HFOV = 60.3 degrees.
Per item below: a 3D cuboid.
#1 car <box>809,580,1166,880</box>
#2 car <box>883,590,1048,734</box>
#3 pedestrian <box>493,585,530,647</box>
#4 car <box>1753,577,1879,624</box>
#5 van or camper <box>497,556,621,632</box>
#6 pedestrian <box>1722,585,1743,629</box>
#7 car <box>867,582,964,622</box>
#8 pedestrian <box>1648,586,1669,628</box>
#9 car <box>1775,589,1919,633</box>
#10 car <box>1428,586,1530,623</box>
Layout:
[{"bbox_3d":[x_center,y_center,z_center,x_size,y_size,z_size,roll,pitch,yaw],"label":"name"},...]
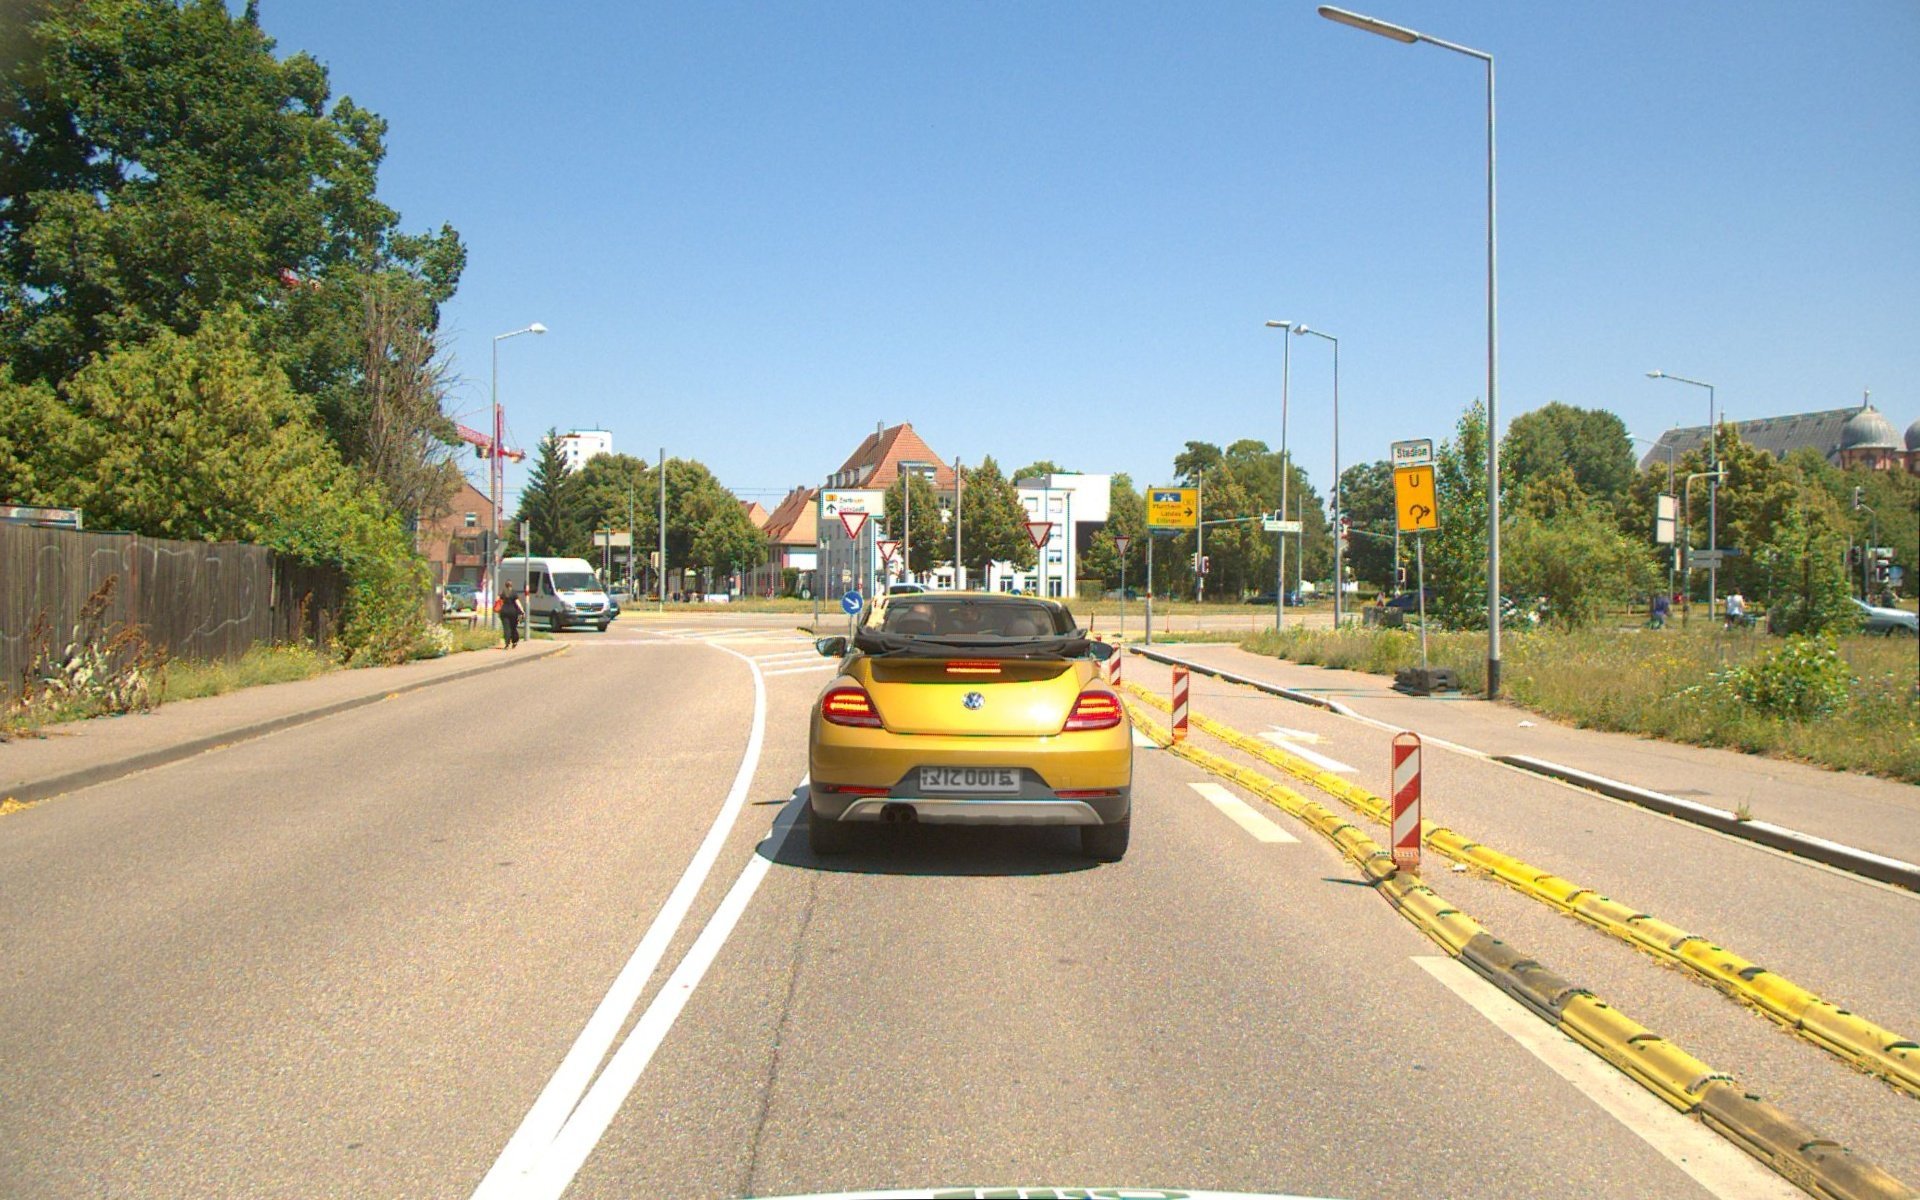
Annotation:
[{"bbox_3d":[0.055,0.621,10.011,1.754,1.462,3.812,0,0,-3],"label":"car"},{"bbox_3d":[0.026,0.624,18.967,1.691,1.468,3.999,0,0,-1],"label":"car"},{"bbox_3d":[-10.870,0.389,40.096,0.708,1.479,0.817,0,0,-5],"label":"pedestrian"},{"bbox_3d":[32.705,0.009,63.251,3.986,1.774,1.568,0,0,7],"label":"car"},{"bbox_3d":[-14.686,-0.233,60.257,2.055,2.622,6.596,0,0,-36],"label":"van or camper"},{"bbox_3d":[24.100,0.212,51.581,0.534,1.334,0.603,0,0,30],"label":"pedestrian"},{"bbox_3d":[-1.782,0.081,66.406,3.617,1.598,1.684,0,0,10],"label":"car"},{"bbox_3d":[22.478,0.229,53.256,0.590,1.334,0.547,0,0,20],"label":"pedestrian"},{"bbox_3d":[28.893,0.327,53.628,4.358,1.381,1.534,0,0,31],"label":"car"},{"bbox_3d":[18.238,0.146,58.120,3.366,1.298,1.202,0,0,20],"label":"car"}]
